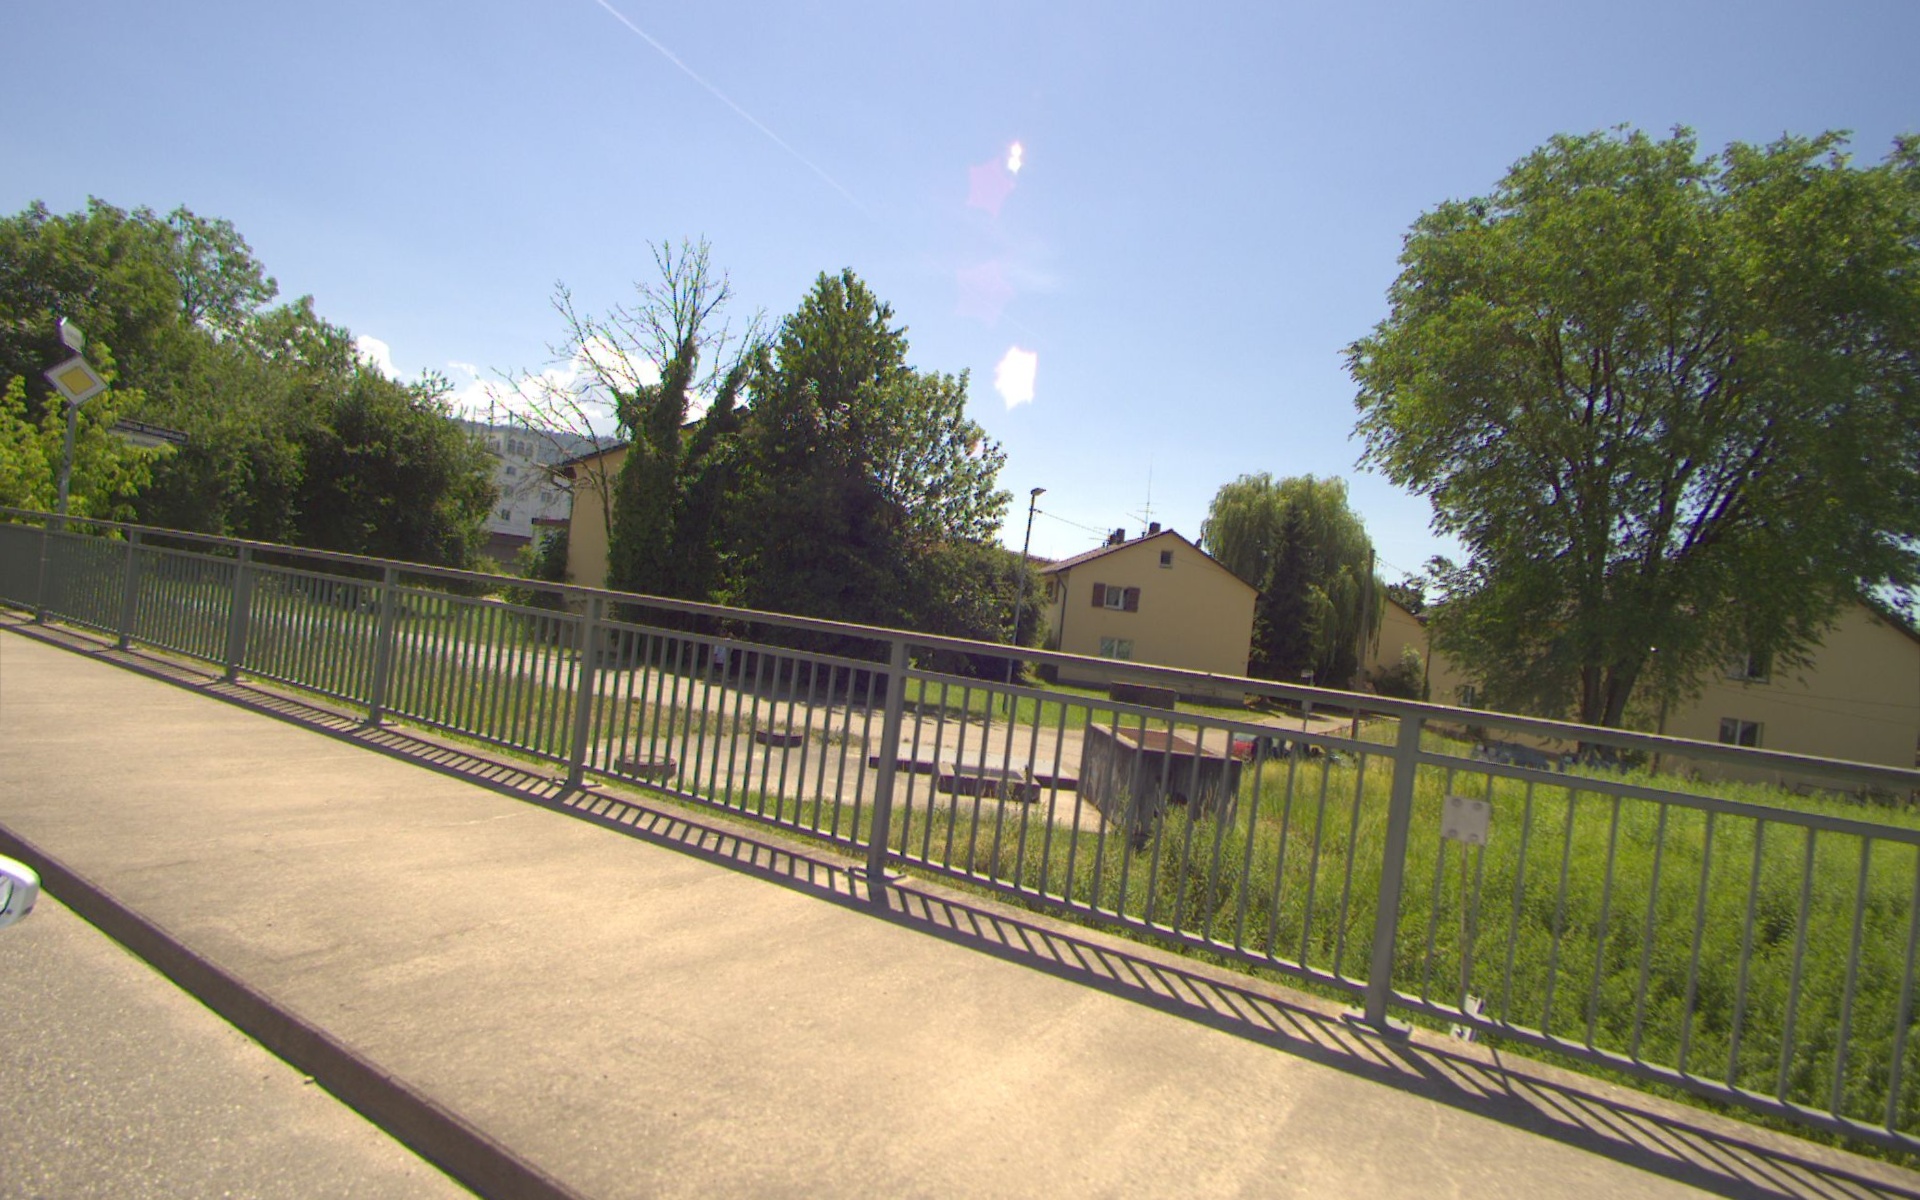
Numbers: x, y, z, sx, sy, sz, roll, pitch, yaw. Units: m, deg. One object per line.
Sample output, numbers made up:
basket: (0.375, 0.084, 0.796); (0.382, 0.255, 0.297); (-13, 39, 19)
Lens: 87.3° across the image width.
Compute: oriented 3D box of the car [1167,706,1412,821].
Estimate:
car: (7.009, 3.478, 21.690); (4.434, 1.644, 1.998); (8, 0, -6)

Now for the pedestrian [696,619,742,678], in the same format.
pedestrian: (-6.259, 1.265, 26.147); (0.838, 1.412, 0.679); (11, 5, 44)
